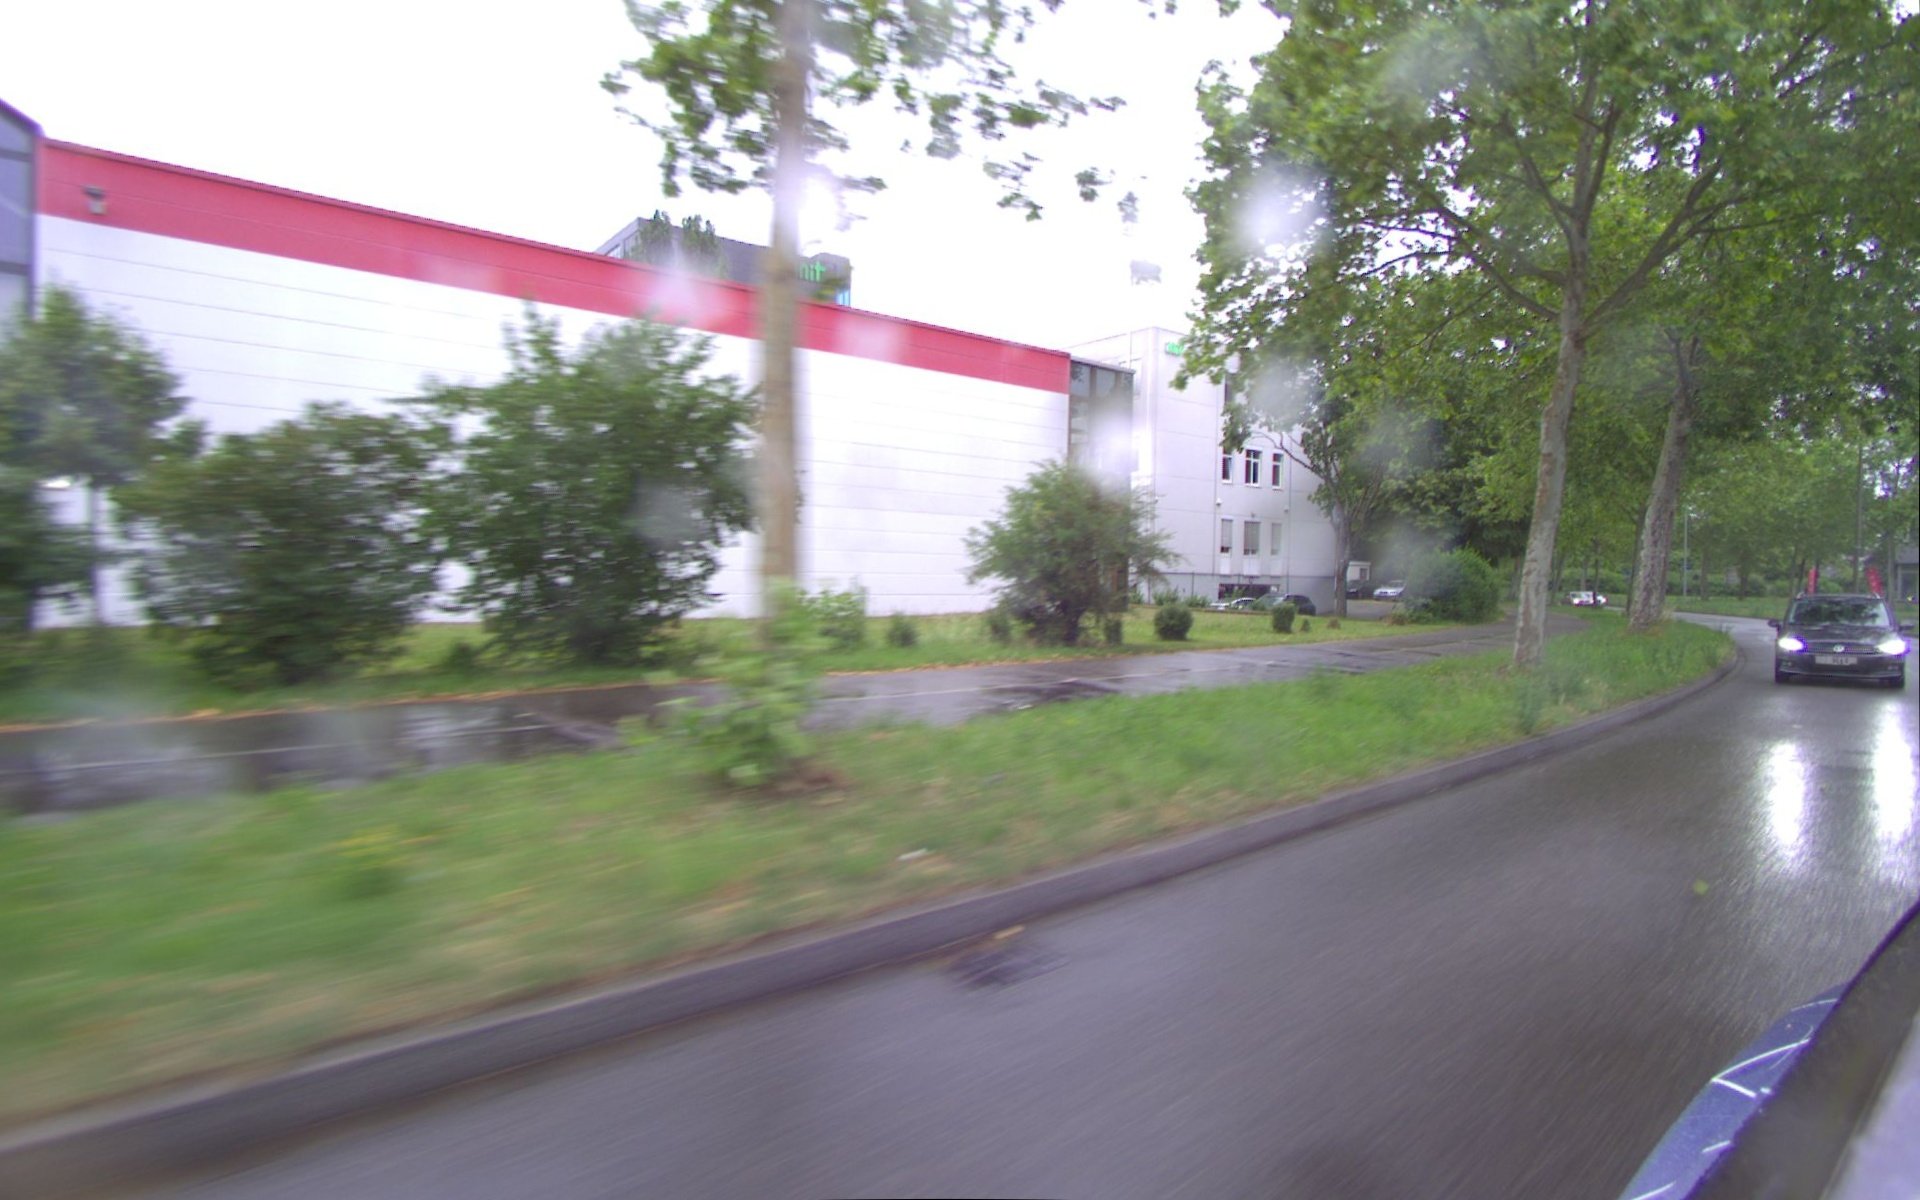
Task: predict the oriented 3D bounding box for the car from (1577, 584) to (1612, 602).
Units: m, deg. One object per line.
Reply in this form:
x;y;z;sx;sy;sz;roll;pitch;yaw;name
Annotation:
57.591;-0.661;91.925;1.762;1.575;3.976;1;1;19;car

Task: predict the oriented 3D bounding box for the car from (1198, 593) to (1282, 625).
13.617;0.420;49.136;4.033;1.494;1.785;0;1;-34;car

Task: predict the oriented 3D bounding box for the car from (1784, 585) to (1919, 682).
16.588;0.534;18.803;1.779;1.575;3.939;2;2;42;car

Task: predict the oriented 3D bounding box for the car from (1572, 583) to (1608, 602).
53.860;-0.633;86.567;1.762;1.575;3.976;1;1;19;car

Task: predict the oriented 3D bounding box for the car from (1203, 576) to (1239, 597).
18.422;-0.960;71.313;1.584;1.375;3.670;1;1;29;car

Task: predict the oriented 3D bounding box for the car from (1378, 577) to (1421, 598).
30.682;-0.886;70.641;1.593;1.438;3.648;1;1;44;car

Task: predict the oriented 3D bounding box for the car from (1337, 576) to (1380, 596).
28.437;-1.011;72.121;1.593;1.375;3.648;1;1;44;car
